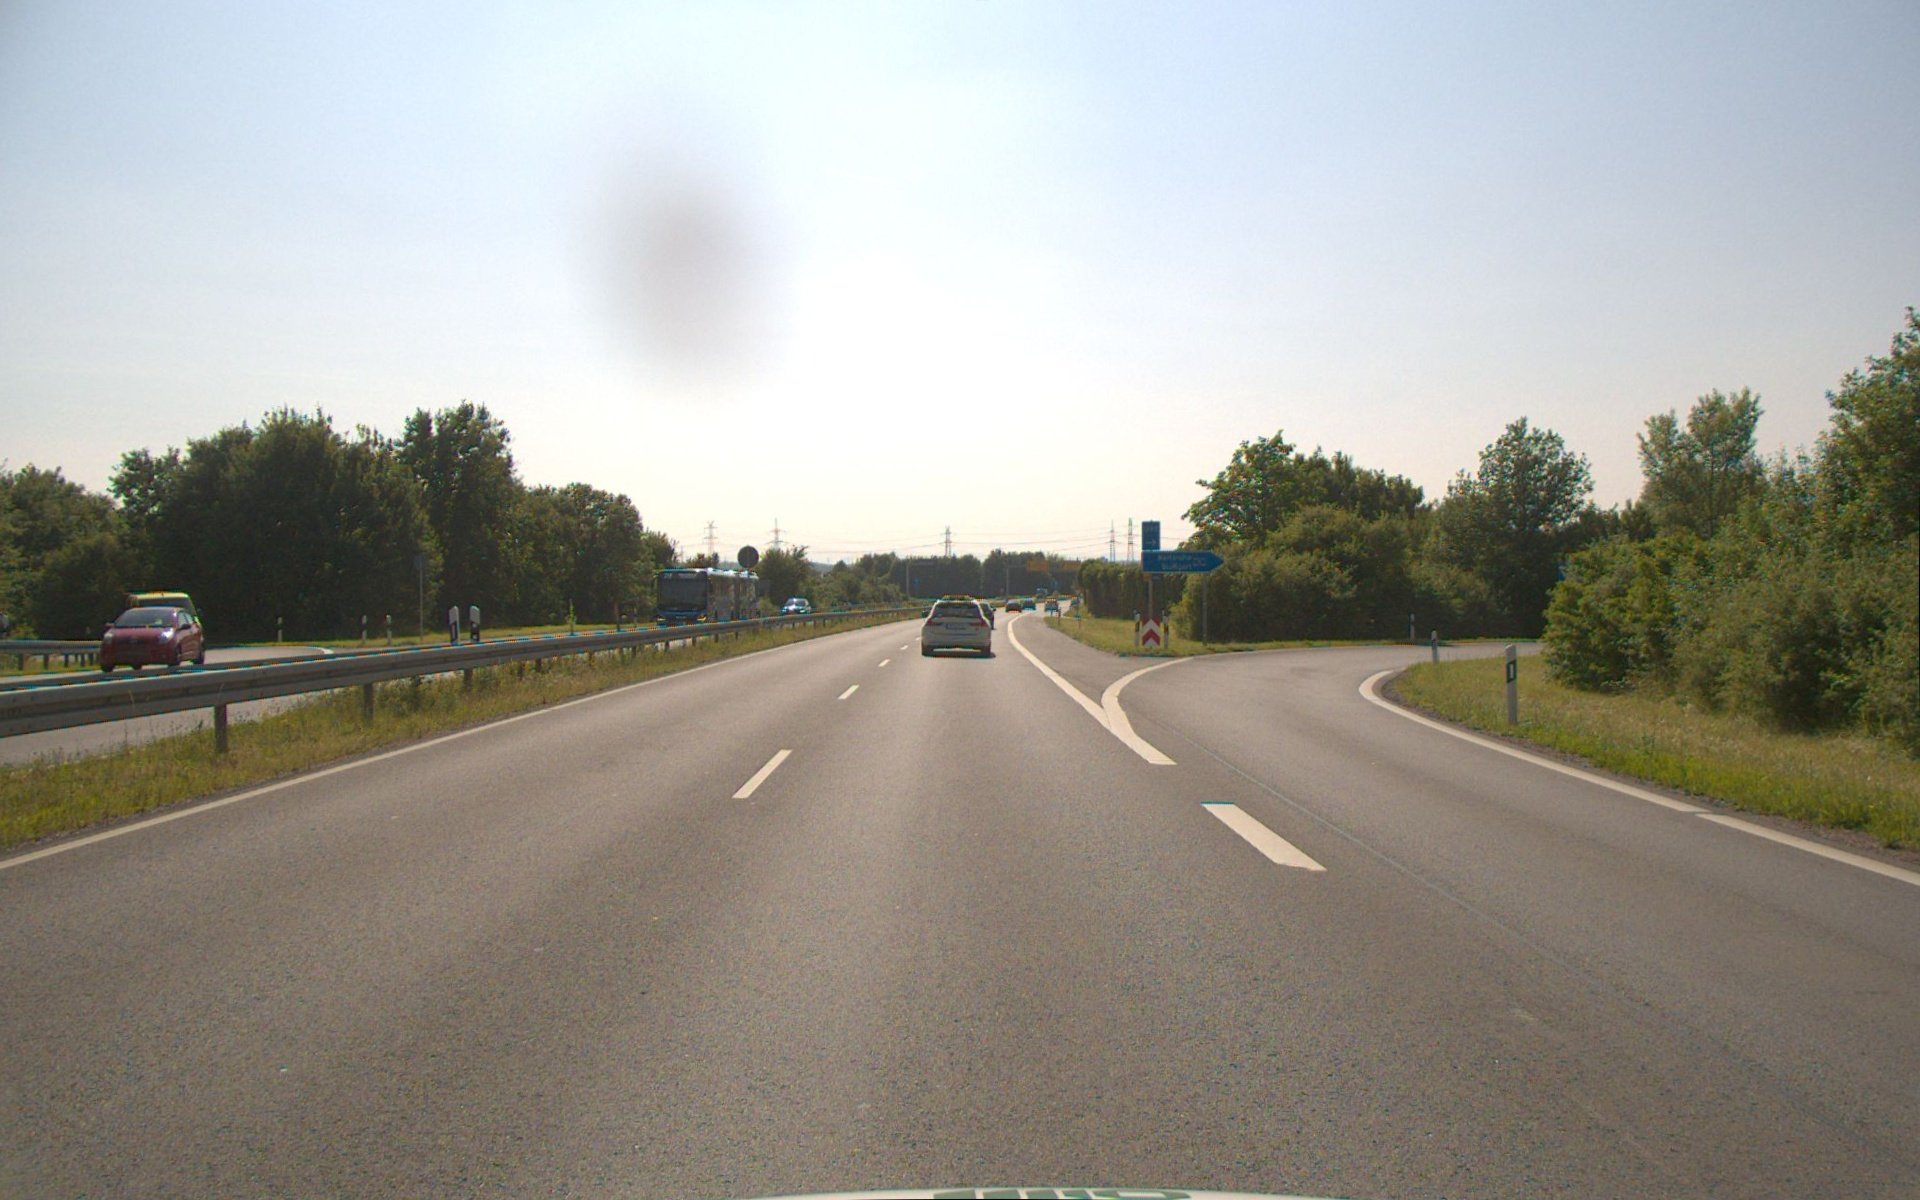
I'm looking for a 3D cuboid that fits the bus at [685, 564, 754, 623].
[{"bbox_3d":[-13.577,-0.382,93.997,2.669,3.164,8.393,0,0,0],"label":"bus"}]

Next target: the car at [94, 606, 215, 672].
[{"bbox_3d":[-19.634,0.913,40.473,1.754,1.471,3.987,-1,0,-13],"label":"car"}]

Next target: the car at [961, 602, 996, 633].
[{"bbox_3d":[0.952,0.897,87.051,1.756,1.570,3.671,1,0,0],"label":"car"}]

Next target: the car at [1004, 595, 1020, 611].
[{"bbox_3d":[6.146,0.396,194.499,1.802,1.834,4.002,1,0,4],"label":"car"}]

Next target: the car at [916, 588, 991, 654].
[{"bbox_3d":[-0.166,0.538,44.765,1.918,1.629,4.107,1,1,0],"label":"car"}]

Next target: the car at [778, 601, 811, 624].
[{"bbox_3d":[-12.428,0.913,124.181,1.952,1.633,4.275,1,1,1],"label":"car"}]

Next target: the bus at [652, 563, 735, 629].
[{"bbox_3d":[-13.553,-0.216,84.894,2.669,3.164,9.835,0,0,0],"label":"bus"}]

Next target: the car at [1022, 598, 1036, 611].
[{"bbox_3d":[9.476,0.658,228.079,1.803,1.728,4.000,1,0,0],"label":"car"}]

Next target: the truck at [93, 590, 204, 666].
[{"bbox_3d":[-29.311,1.047,59.596,2.113,2.496,6.523,-3,0,-39],"label":"truck"}]
